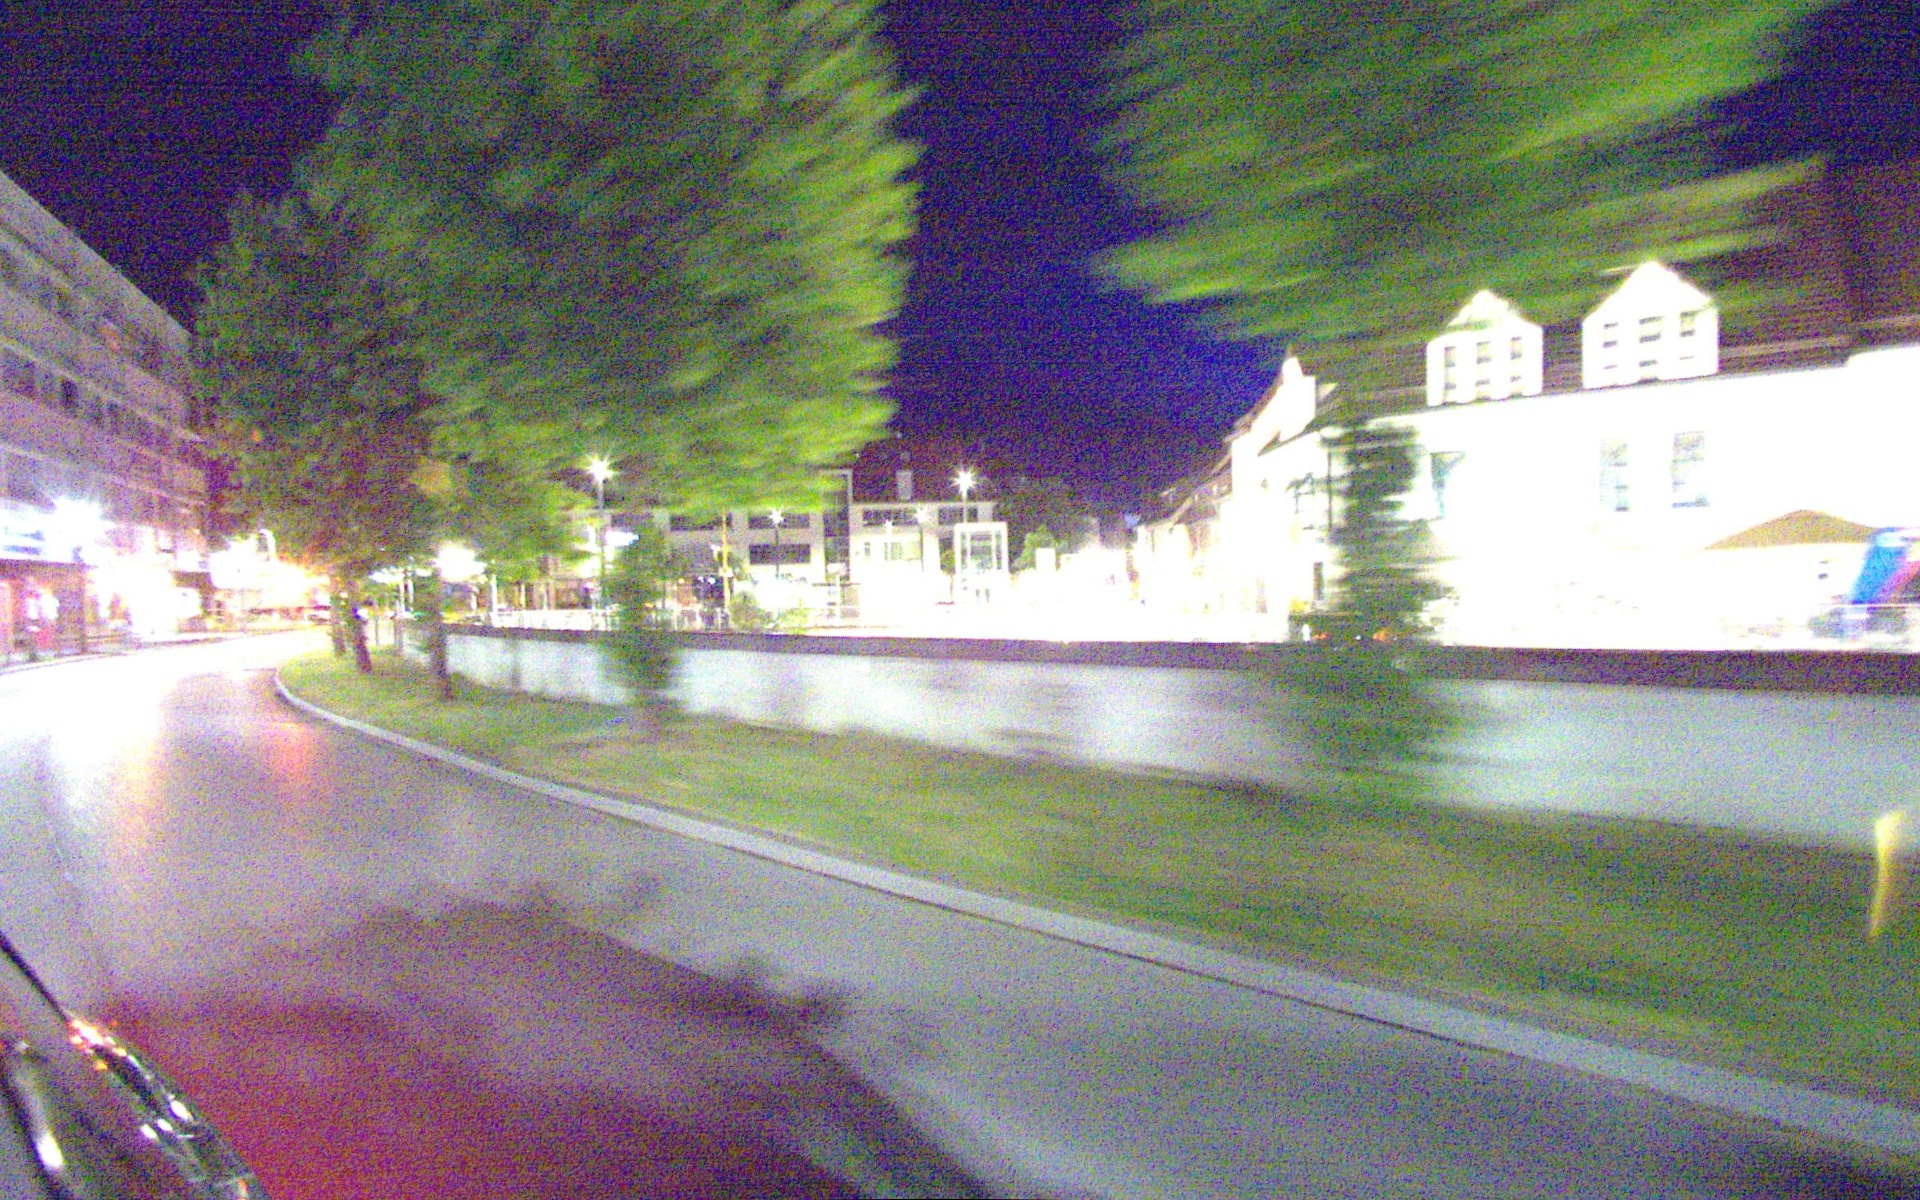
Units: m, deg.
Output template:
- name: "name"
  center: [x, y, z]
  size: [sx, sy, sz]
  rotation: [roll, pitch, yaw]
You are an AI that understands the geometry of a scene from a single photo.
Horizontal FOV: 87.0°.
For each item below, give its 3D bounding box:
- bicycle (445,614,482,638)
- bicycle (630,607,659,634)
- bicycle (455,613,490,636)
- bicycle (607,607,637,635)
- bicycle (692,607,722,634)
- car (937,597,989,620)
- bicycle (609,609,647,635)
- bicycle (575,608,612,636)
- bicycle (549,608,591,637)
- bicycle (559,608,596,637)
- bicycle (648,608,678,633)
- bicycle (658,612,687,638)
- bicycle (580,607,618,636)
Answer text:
- name: "bicycle"
  center: [-24.651, 1.284, 50.315]
  size: [1.593, 1.114, 0.672]
  rotation: [-2, 2, -24]
- name: "bicycle"
  center: [-13.943, 0.907, 44.702]
  size: [0.599, 1.133, 1.749]
  rotation: [0, -1, -41]
- name: "bicycle"
  center: [-25.189, 1.277, 52.334]
  size: [1.593, 1.114, 0.672]
  rotation: [-2, 1, -24]
- name: "bicycle"
  center: [-14.346, 0.903, 42.907]
  size: [0.599, 1.174, 1.750]
  rotation: [0, -1, -41]
- name: "bicycle"
  center: [-11.876, 0.964, 47.508]
  size: [0.599, 1.228, 1.749]
  rotation: [0, -1, -41]
- name: "car"
  center: [0.278, 0.770, 89.982]
  size: [4.347, 1.951, 1.964]
  rotation: [-1, -1, -9]
- name: "bicycle"
  center: [-14.452, 0.969, 44.024]
  size: [1.740, 1.078, 0.602]
  rotation: [-2, -1, 31]
- name: "bicycle"
  center: [-15.733, 0.948, 43.424]
  size: [1.743, 1.174, 0.602]
  rotation: [-2, -1, 34]
- name: "bicycle"
  center: [-15.949, 0.916, 41.400]
  size: [1.743, 1.171, 0.752]
  rotation: [-2, -1, 34]
- name: "bicycle"
  center: [-15.993, 0.941, 42.278]
  size: [1.743, 1.163, 0.538]
  rotation: [-2, -1, 34]
- name: "bicycle"
  center: [-13.289, 0.913, 45.222]
  size: [0.599, 1.109, 1.749]
  rotation: [0, -1, -41]
- name: "bicycle"
  center: [-13.072, 1.143, 46.012]
  size: [0.599, 1.174, 1.749]
  rotation: [0, -1, -41]
- name: "bicycle"
  center: [-15.062, 0.917, 42.223]
  size: [1.743, 1.174, 0.602]
  rotation: [-2, -1, 34]
